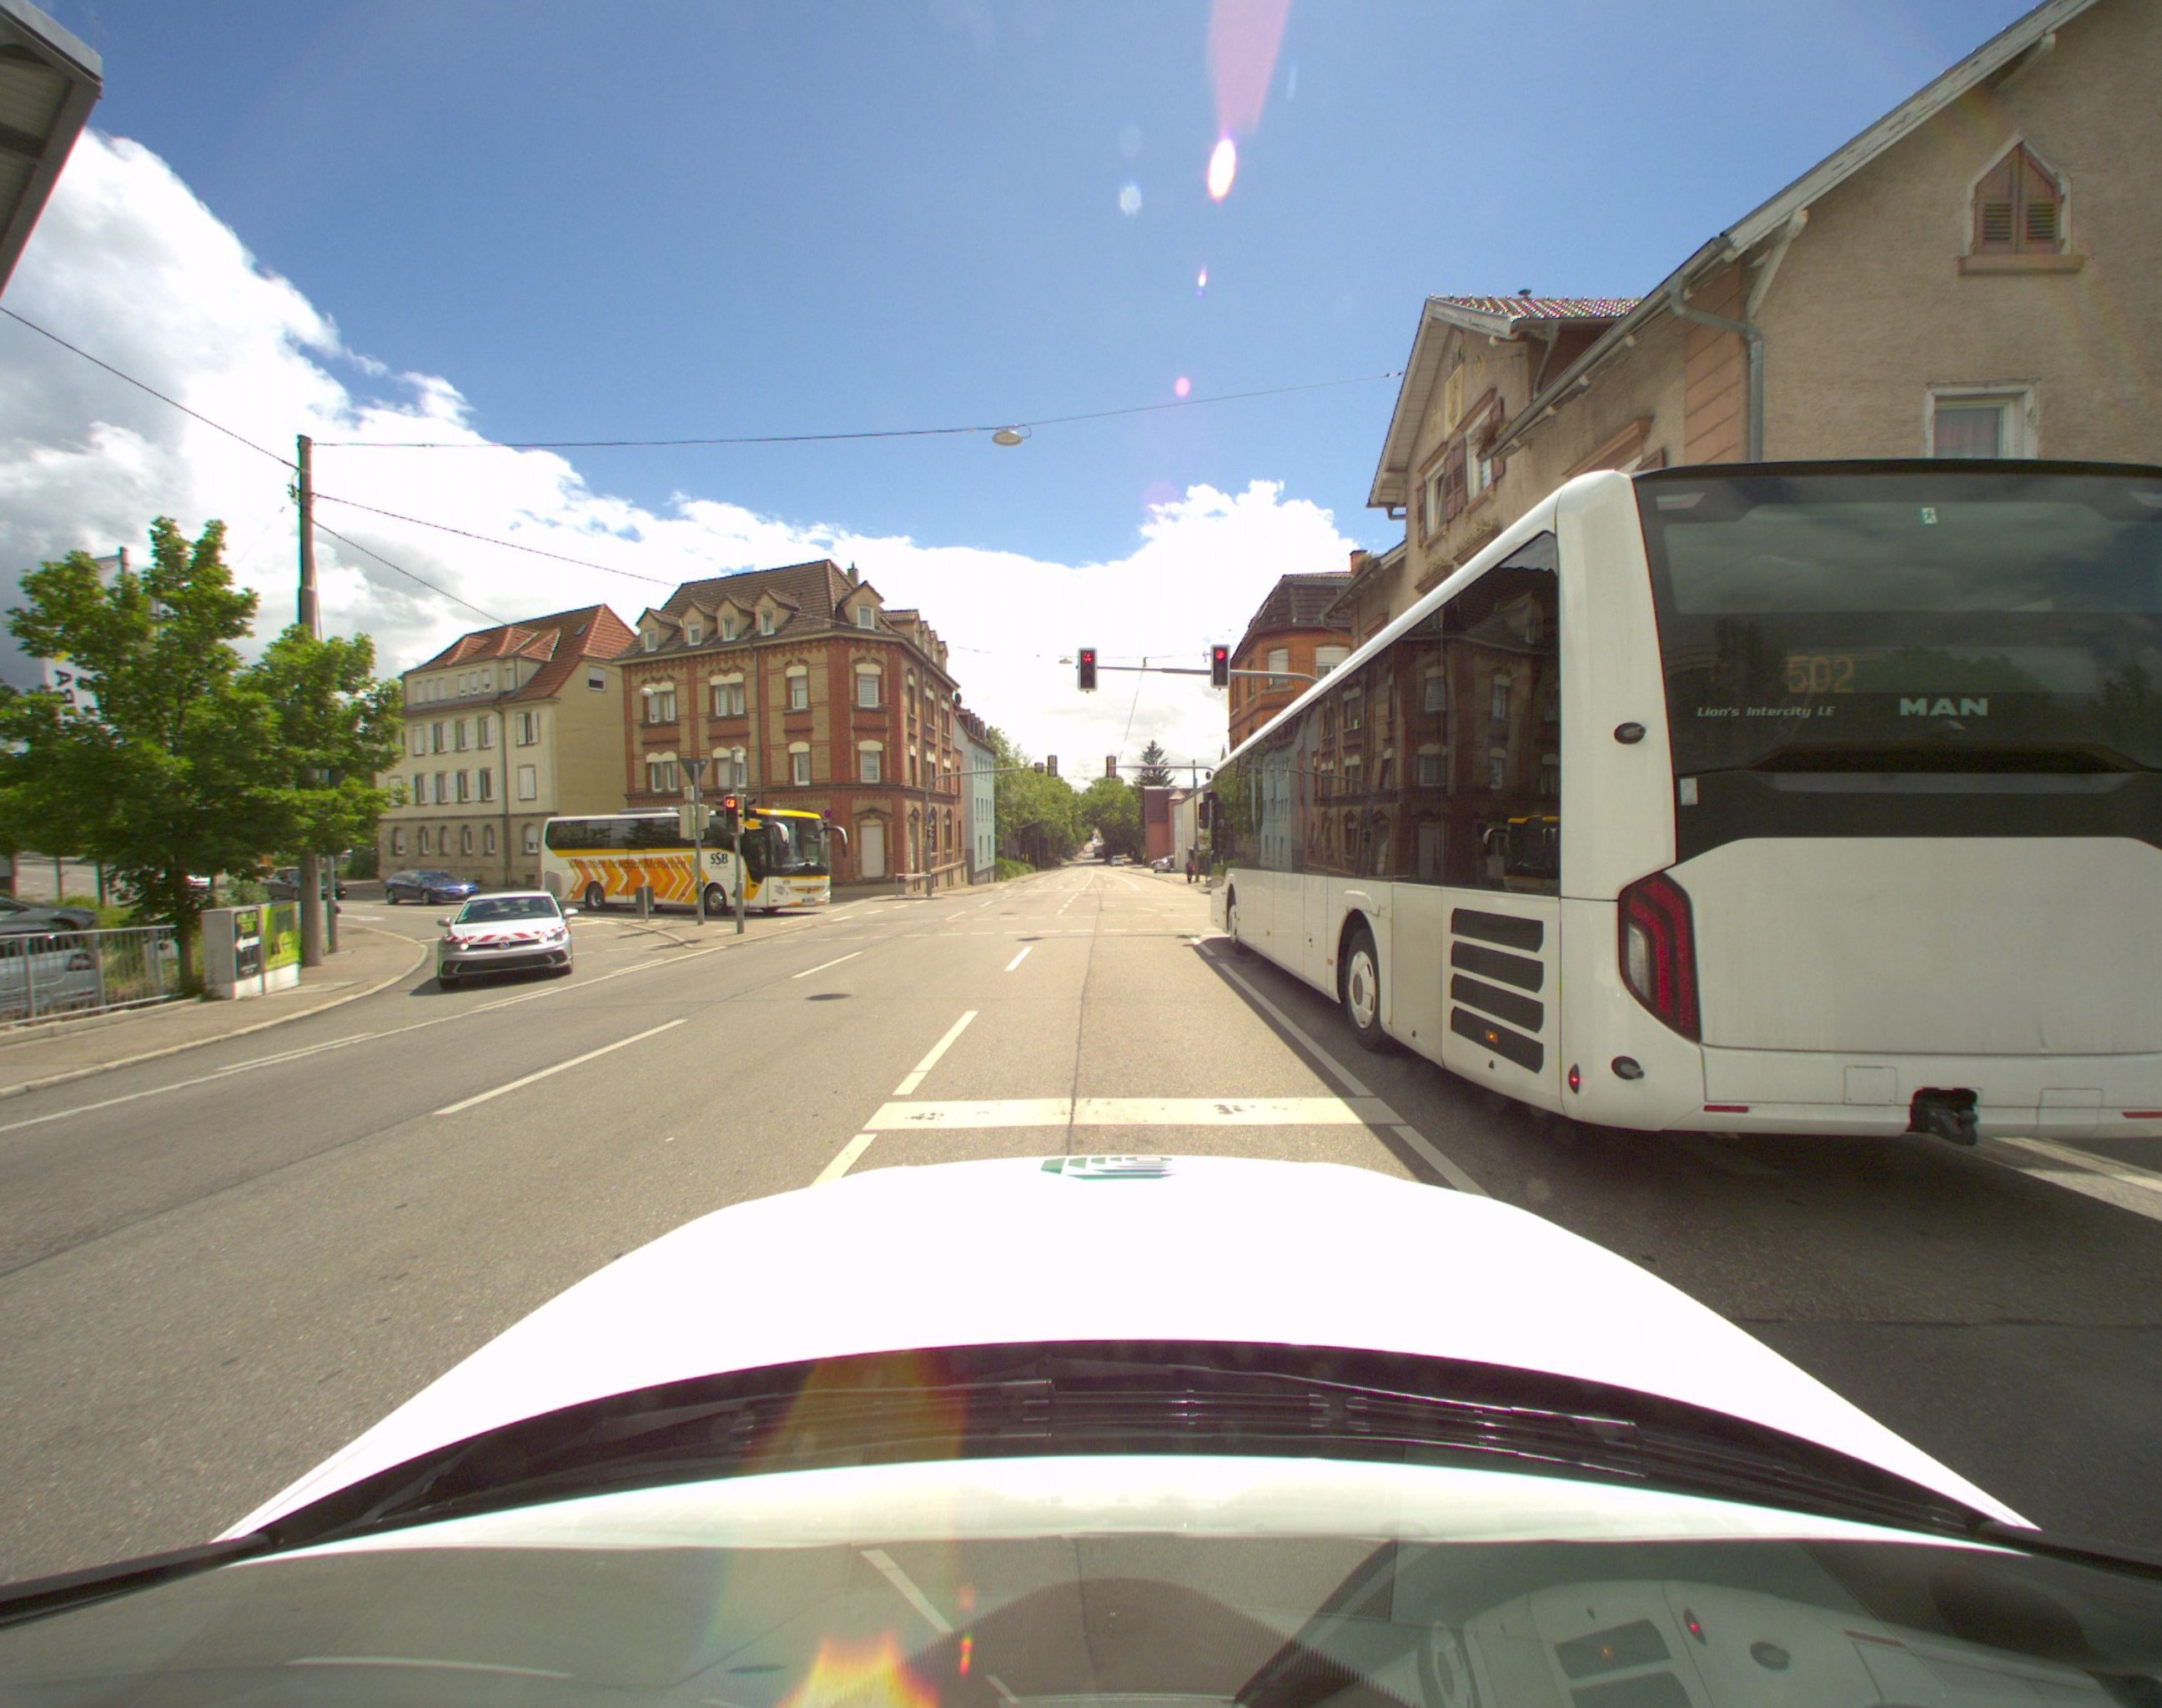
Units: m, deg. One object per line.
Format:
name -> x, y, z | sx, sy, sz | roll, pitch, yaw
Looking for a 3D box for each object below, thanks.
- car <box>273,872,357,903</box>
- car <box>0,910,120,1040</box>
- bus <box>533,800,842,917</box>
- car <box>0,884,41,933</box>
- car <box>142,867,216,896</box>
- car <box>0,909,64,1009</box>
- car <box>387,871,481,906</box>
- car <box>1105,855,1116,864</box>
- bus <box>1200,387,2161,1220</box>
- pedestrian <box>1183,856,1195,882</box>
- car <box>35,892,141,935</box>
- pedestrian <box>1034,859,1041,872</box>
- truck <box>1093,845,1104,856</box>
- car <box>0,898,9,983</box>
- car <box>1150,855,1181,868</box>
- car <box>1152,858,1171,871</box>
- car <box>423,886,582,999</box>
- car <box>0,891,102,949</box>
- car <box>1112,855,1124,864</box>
car -> -38.433, 1.671, 40.863 | 3.949, 1.409, 1.923 | -2, 0, 29
car -> -15.979, 1.745, 12.105 | 3.321, 1.560, 1.692 | 0, 2, 32
bus -> -14.185, 0.230, 28.841 | 12.112, 3.621, 2.787 | -1, 0, 25
car -> -36.325, 1.815, 25.676 | 1.785, 1.553, 4.023 | -2, 0, 25
car -> -50.827, 1.562, 45.875 | 3.949, 1.554, 1.923 | -2, 0, 29
car -> -19.532, 1.835, 14.210 | 3.455, 1.526, 1.626 | -1, 2, 29
car -> -28.313, 1.506, 35.636 | 3.949, 1.409, 1.762 | -2, 0, 28
car -> 5.279, 0.983, 145.926 | 1.787, 1.409, 4.421 | -1, 0, 3
bus -> 3.425, -0.179, 9.375 | 2.662, 3.155, 12.467 | -2, 0, 2
pedestrian -> 7.528, 1.033, 56.643 | 0.736, 1.750, 0.619 | -2, 0, 1
car -> -37.645, 2.230, 30.873 | 3.456, 1.448, 1.811 | -2, 0, 26
pedestrian -> -5.301, 1.446, 99.109 | 0.727, 1.565, 0.561 | -1, -1, 0
truck -> 4.966, -0.939, 236.740 | 2.917, 3.081, 7.883 | -2, 0, 0
car -> -23.557, 1.788, 16.536 | 3.455, 1.680, 1.663 | -1, 2, 30
car -> 11.768, 1.042, 113.085 | 3.978, 1.757, 1.998 | -2, 0, -3
car -> 9.222, 1.173, 93.029 | 1.788, 1.409, 4.000 | -2, 0, 1
car -> -9.799, 1.364, 13.859 | 1.893, 1.418, 3.581 | -5, 2, -36
car -> -29.581, 1.828, 22.183 | 1.777, 1.477, 3.522 | -2, 0, 32
car -> 5.871, 0.945, 129.507 | 1.787, 1.409, 4.002 | -1, 0, 2
